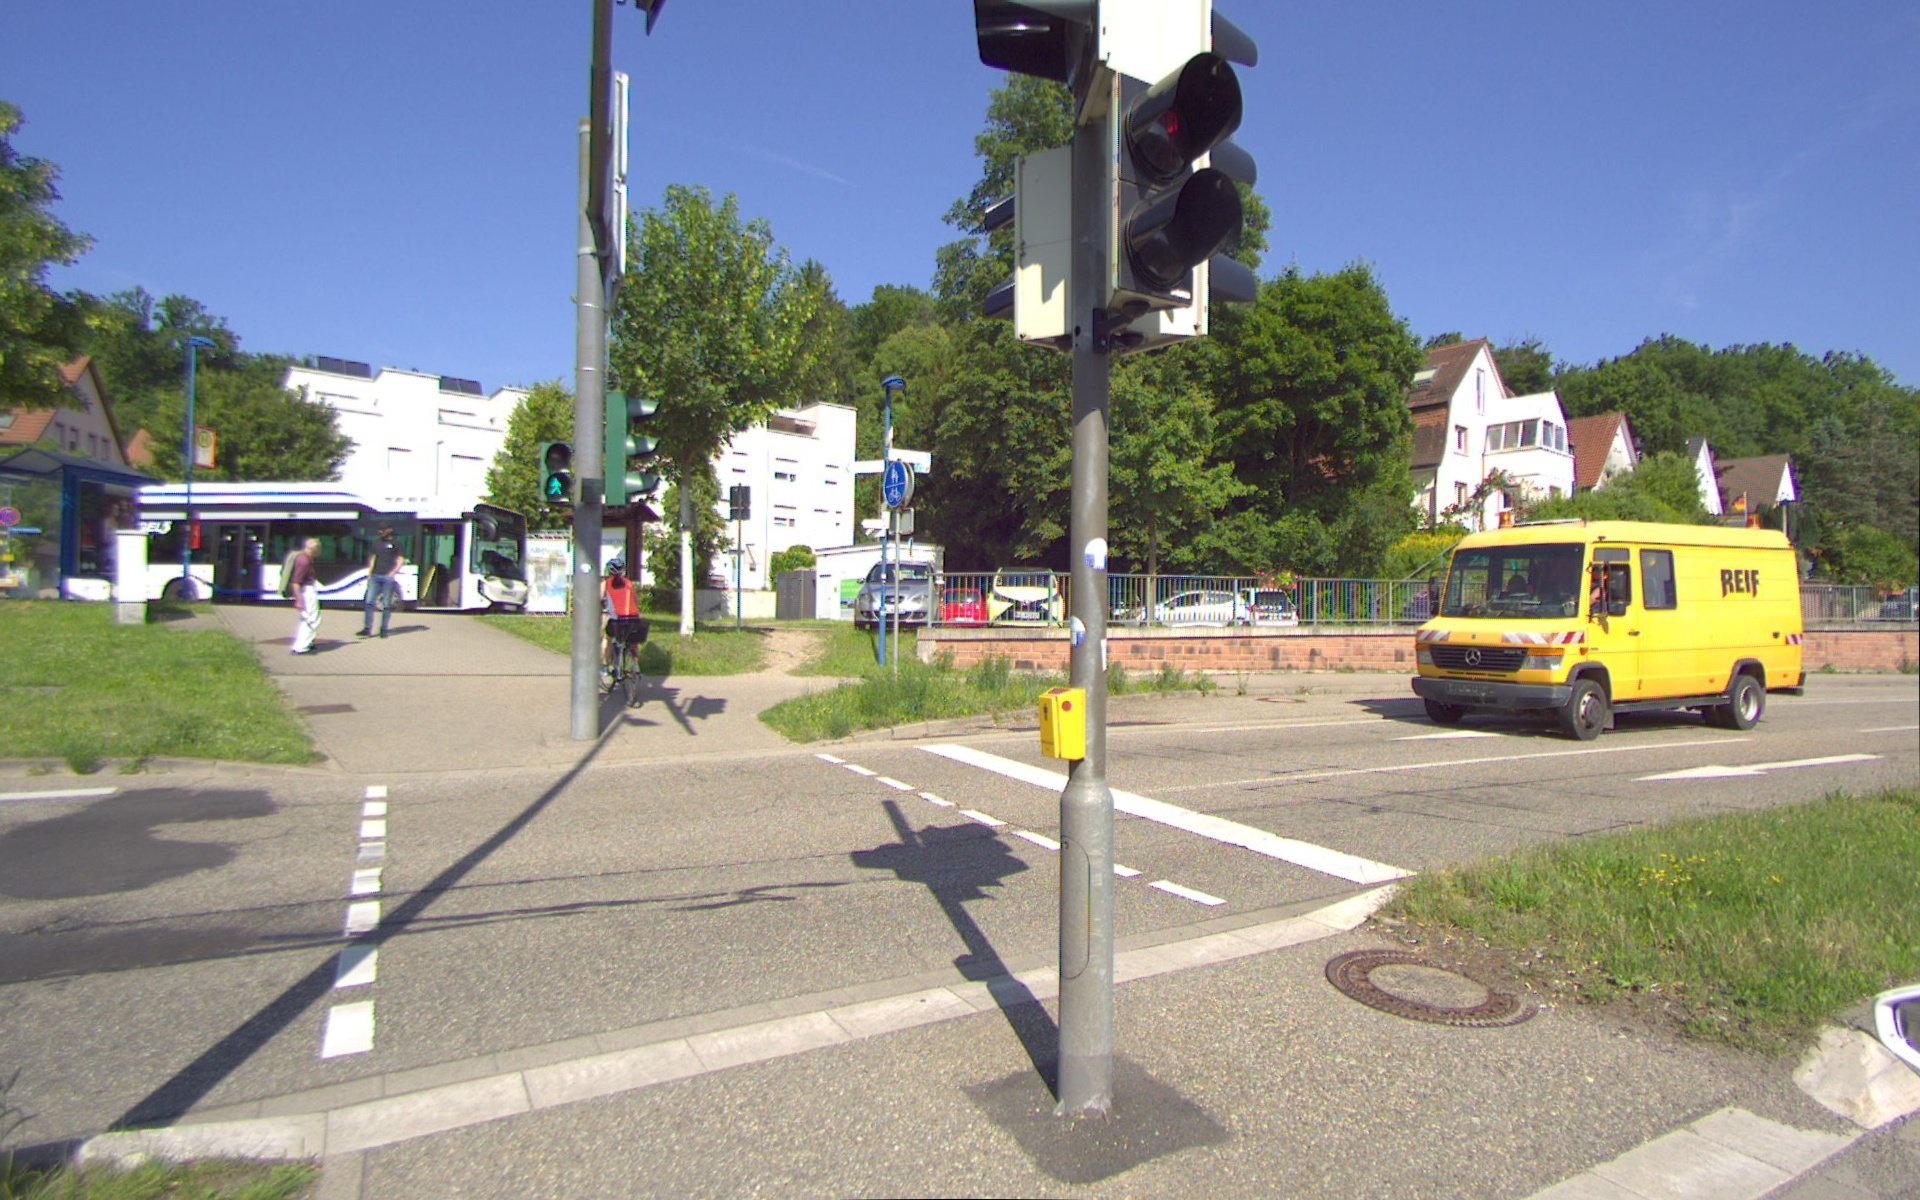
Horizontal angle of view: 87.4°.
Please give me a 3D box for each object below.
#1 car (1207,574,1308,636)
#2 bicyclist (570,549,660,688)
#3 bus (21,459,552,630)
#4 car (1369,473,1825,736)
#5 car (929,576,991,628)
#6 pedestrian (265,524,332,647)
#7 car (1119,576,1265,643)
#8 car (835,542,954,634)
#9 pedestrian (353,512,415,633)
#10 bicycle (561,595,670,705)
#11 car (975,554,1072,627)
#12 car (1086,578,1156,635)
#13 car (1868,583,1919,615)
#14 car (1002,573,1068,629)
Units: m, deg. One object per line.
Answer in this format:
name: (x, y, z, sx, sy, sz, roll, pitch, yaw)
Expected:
car: (9.886, 0.106, 33.714, 1.877, 1.901, 3.996, 1, 2, -4)
bicyclist: (-4.209, 0.197, 12.234, 0.798, 1.586, 0.948, 0, 4, -34)
bus: (-16.574, -1.405, 25.017, 11.970, 3.764, 2.871, 1, 2, 7)
car: (9.068, 0.095, 14.179, 6.383, 3.051, 2.458, 2, 1, -27)
car: (0.067, 0.009, 33.986, 1.876, 1.581, 4.000, 1, 2, 3)
pedestrian: (-9.407, -0.210, 14.314, 0.732, 1.700, 0.707, 0, 3, -30)
car: (6.824, 0.267, 29.894, 3.920, 1.813, 1.922, 1, 0, 3)
car: (-1.296, -0.326, 21.691, 2.016, 1.719, 4.415, 2, 2, 3)
pedestrian: (-9.537, -0.459, 16.631, 0.847, 1.934, 0.735, 1, 4, -31)
bicycle: (-4.246, 0.561, 12.293, 0.728, 1.079, 1.953, 0, 5, -35)
car: (1.348, -0.260, 21.765, 1.875, 1.400, 4.000, 1, 2, 3)
car: (5.282, 0.146, 33.361, 1.960, 1.694, 4.001, 1, 2, 5)
car: (50.197, -0.030, 53.783, 3.969, 1.651, 1.878, 1, 0, -41)
car: (2.474, -0.035, 34.031, 1.876, 1.724, 3.999, 1, 2, 0)
